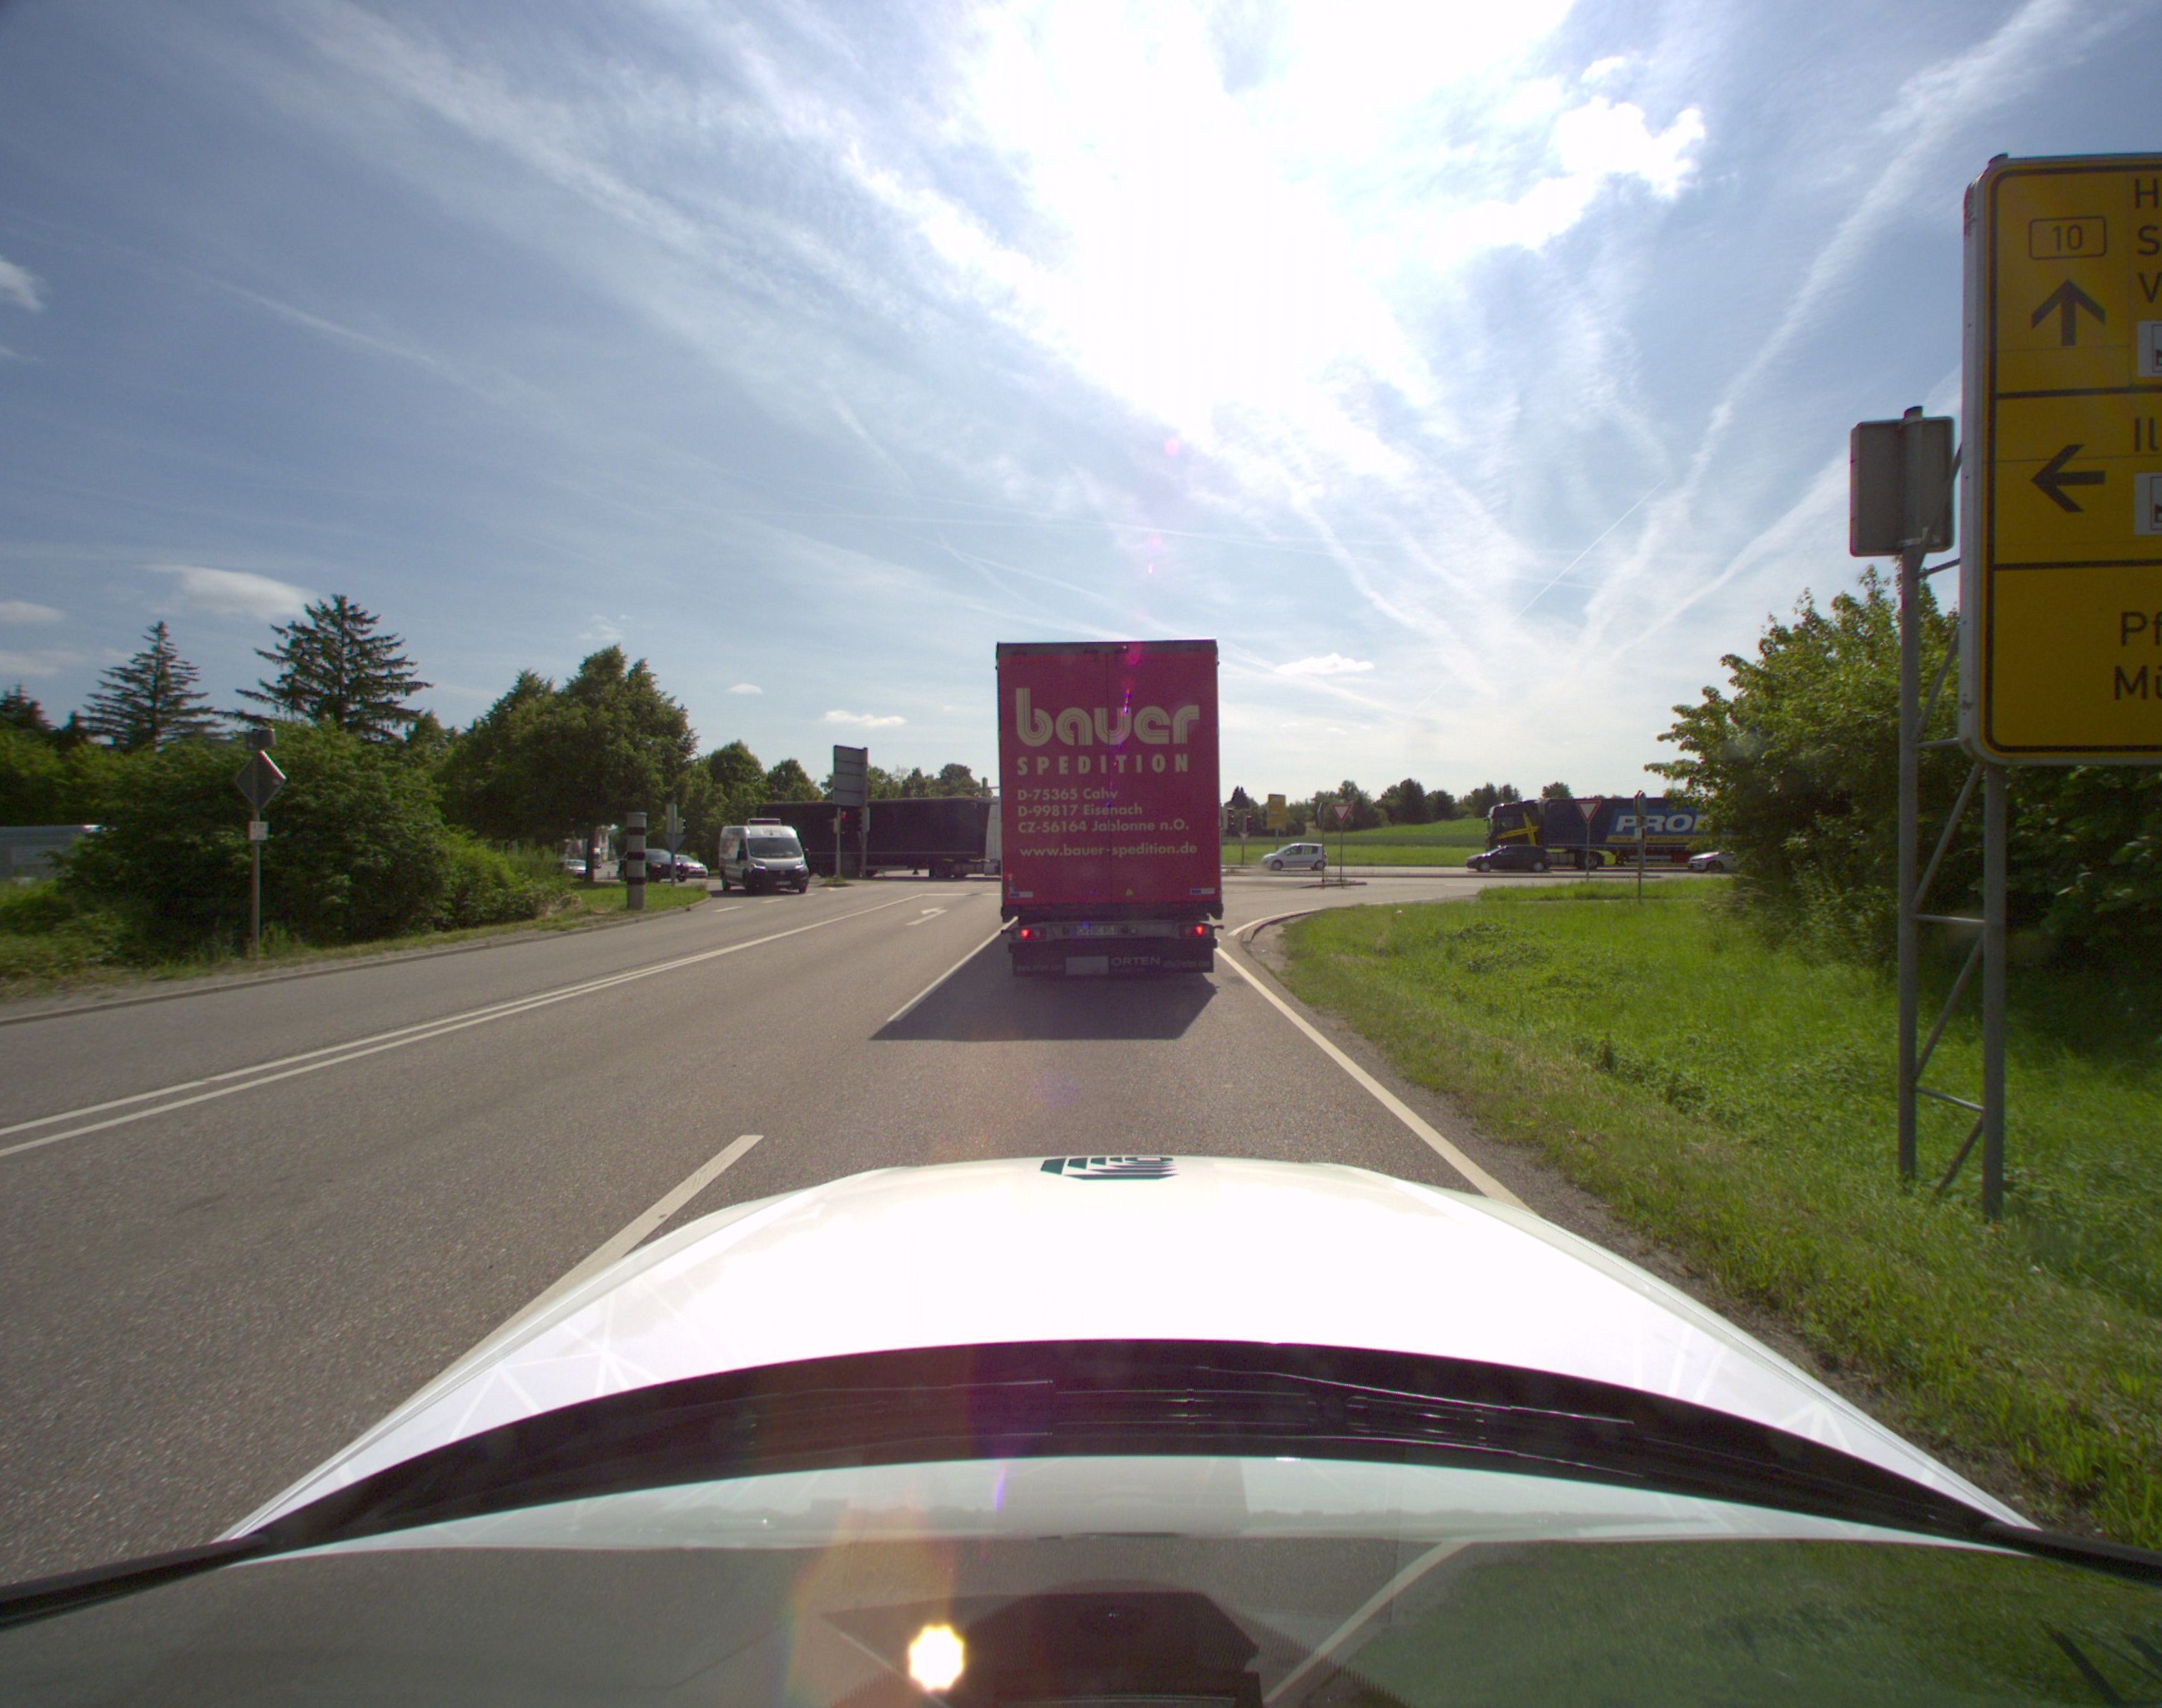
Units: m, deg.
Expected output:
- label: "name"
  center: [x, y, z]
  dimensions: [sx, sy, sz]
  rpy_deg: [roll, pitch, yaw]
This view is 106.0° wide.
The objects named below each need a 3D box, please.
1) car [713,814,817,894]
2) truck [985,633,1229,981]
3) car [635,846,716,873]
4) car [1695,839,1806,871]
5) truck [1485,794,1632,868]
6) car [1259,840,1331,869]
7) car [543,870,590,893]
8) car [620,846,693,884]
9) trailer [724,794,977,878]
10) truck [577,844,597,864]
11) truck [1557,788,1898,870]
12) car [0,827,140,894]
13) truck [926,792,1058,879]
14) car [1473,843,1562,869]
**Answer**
- label: "car"
  center: [-11.762, -0.004, 30.030]
  dimensions: [2.134, 2.654, 5.920]
  rpy_deg: [-1, 0, -36]
- label: "truck"
  center: [0.557, -0.599, 17.568]
  dimensions: [2.724, 3.925, 16.632]
  rpy_deg: [-1, 0, 2]
- label: "car"
  center: [-23.697, 0.302, 47.627]
  dimensions: [4.211, 1.461, 1.819]
  rpy_deg: [0, 1, 20]
- label: "car"
  center: [32.628, 0.073, 39.818]
  dimensions: [3.958, 1.491, 1.547]
  rpy_deg: [-1, -1, 26]
- label: "truck"
  center: [27.246, -1.268, 46.875]
  dimensions: [6.871, 3.993, 3.044]
  rpy_deg: [0, 1, 21]
- label: "car"
  center: [12.498, 0.030, 47.703]
  dimensions: [3.811, 1.633, 1.762]
  rpy_deg: [-1, -1, 2]
- label: "car"
  center: [-35.768, 1.888, 56.596]
  dimensions: [3.997, 1.416, 1.806]
  rpy_deg: [1, 2, 44]
- label: "car"
  center: [-20.913, 0.545, 40.045]
  dimensions: [4.058, 1.750, 1.884]
  rpy_deg: [-1, -1, 42]
- label: "trailer"
  center: [-12.284, -0.907, 42.996]
  dimensions: [13.572, 4.061, 2.812]
  rpy_deg: [0, 1, 19]
- label: "truck"
  center: [-97.266, 0.036, 160.387]
  dimensions: [2.955, 3.798, 7.854]
  rpy_deg: [-1, 0, -29]
- label: "truck"
  center: [34.073, -1.252, 44.043]
  dimensions: [14.153, 3.979, 3.045]
  rpy_deg: [0, 1, 24]
- label: "car"
  center: [-35.648, 0.196, 27.499]
  dimensions: [4.601, 2.180, 1.986]
  rpy_deg: [0, 0, -22]
- label: "truck"
  center: [-4.362, -0.899, 40.386]
  dimensions: [5.782, 4.061, 2.810]
  rpy_deg: [0, 1, 16]
- label: "car"
  center: [23.225, 0.121, 43.465]
  dimensions: [3.955, 1.310, 1.774]
  rpy_deg: [-1, -1, 18]
